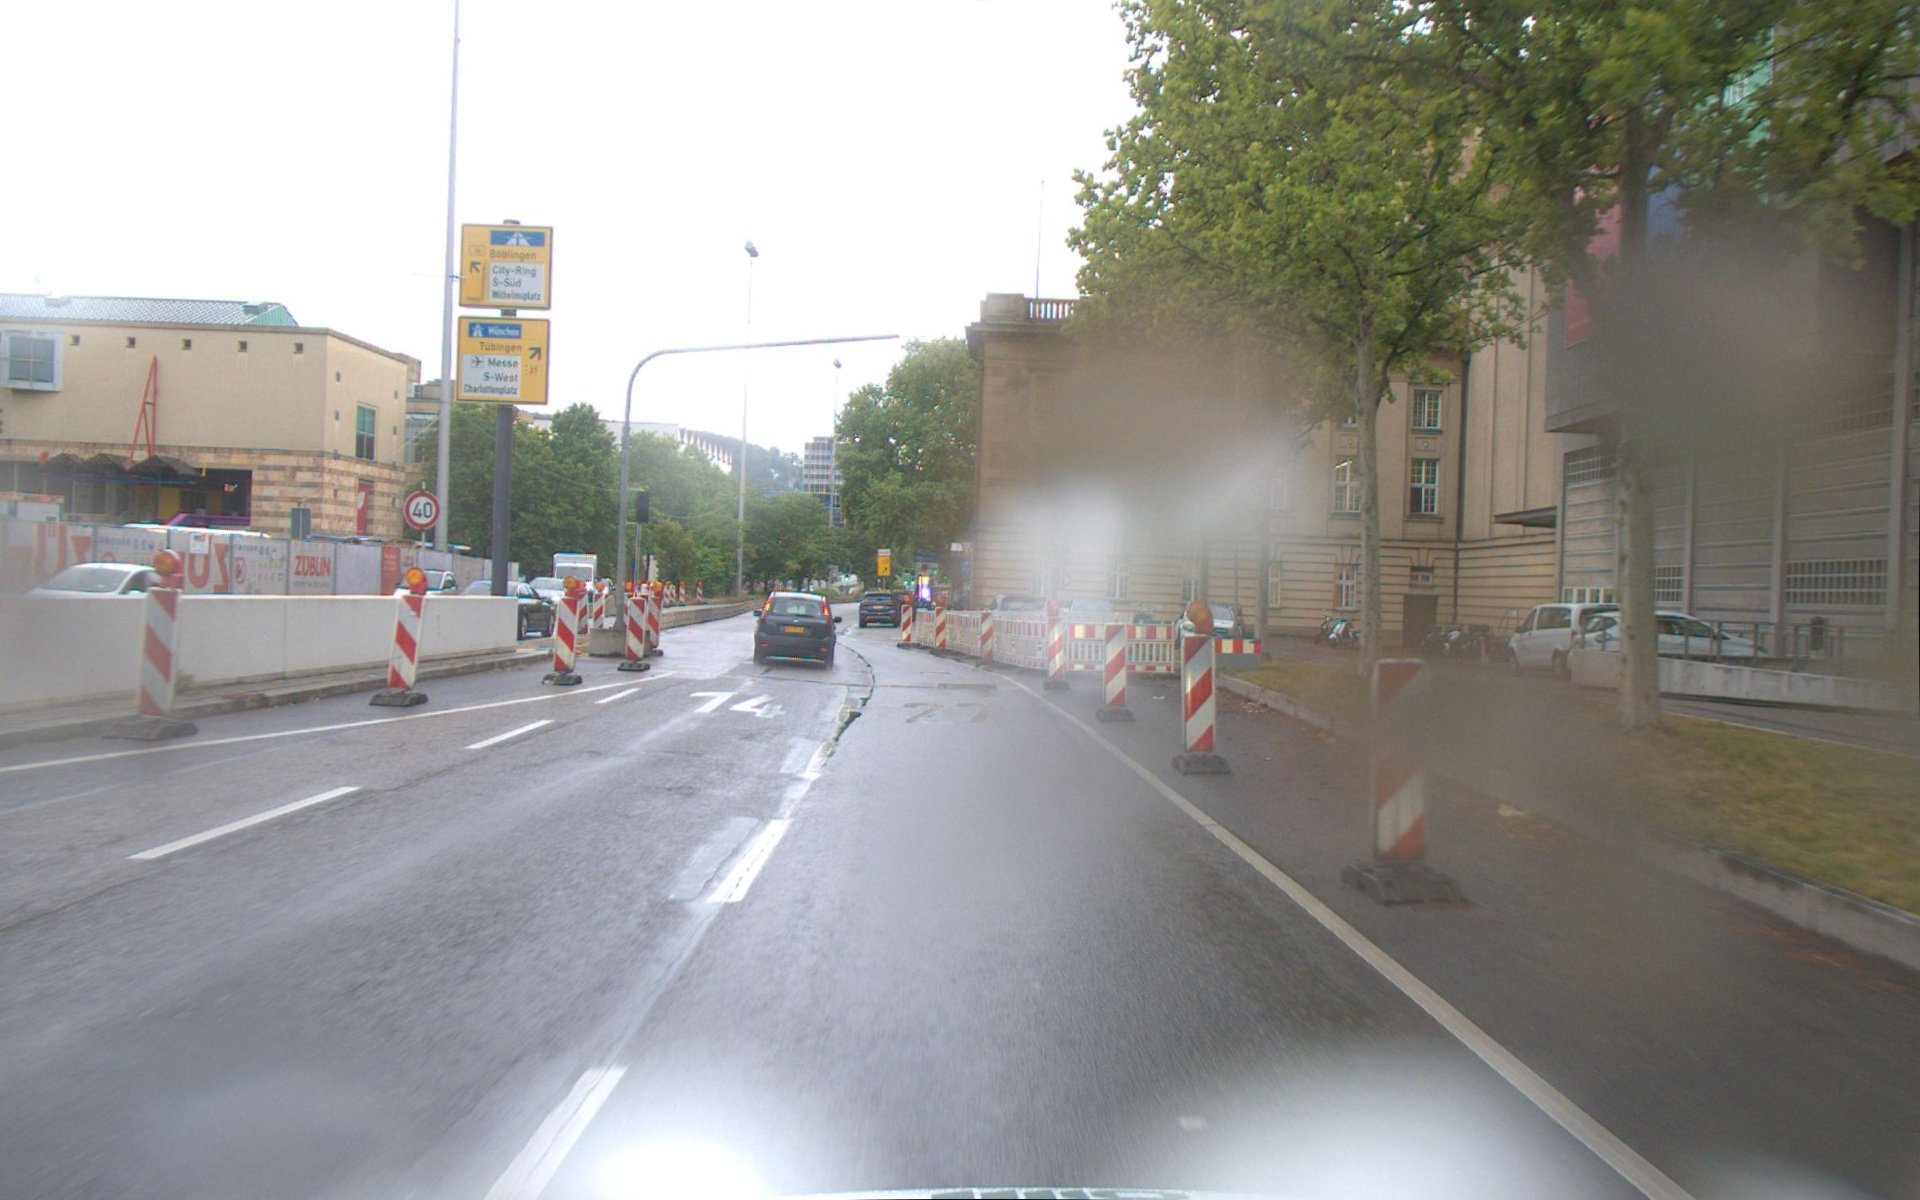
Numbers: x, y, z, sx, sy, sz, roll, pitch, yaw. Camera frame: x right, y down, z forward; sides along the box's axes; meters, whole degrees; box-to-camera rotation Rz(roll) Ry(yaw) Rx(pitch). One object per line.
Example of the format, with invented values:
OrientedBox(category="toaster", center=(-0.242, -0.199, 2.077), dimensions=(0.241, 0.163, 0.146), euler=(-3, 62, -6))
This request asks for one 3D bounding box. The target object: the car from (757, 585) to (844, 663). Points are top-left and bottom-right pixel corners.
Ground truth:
OrientedBox(category="car", center=(-3.288, 0.456, 34.250), dimensions=(1.638, 1.452, 3.753), euler=(3, 0, -6))

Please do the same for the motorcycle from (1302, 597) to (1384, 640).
OrientedBox(category="motorcycle", center=(15.761, 0.770, 68.160), dimensions=(3.095, 1.570, 0.890), euler=(4, -2, 4))

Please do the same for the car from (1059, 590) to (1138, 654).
OrientedBox(category="car", center=(4.201, 0.630, 50.615), dimensions=(1.953, 1.738, 4.000), euler=(3, 1, -1))

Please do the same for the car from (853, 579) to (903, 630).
OrientedBox(category="car", center=(-3.593, 0.154, 73.087), dimensions=(1.953, 2.048, 4.000), euler=(3, 1, -1))

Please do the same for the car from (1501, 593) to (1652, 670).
OrientedBox(category="car", center=(15.624, 0.812, 42.229), dimensions=(1.953, 1.790, 5.096), euler=(2, -1, 0))

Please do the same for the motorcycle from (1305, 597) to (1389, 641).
OrientedBox(category="motorcycle", center=(15.696, 0.782, 67.132), dimensions=(3.096, 1.570, 0.890), euler=(4, -2, 2))

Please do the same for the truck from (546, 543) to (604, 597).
OrientedBox(category="truck", center=(-19.368, -1.470, 83.465), dimensions=(2.370, 2.379, 5.431), euler=(4, -1, -10))

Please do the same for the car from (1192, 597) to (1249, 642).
OrientedBox(category="car", center=(10.973, 0.824, 69.862), dimensions=(1.952, 1.738, 4.002), euler=(3, -1, 4))

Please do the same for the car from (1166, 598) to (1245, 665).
OrientedBox(category="car", center=(7.234, 0.898, 49.127), dimensions=(1.952, 1.738, 4.002), euler=(3, 1, 4))

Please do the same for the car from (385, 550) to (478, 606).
OrientedBox(category="car", center=(-16.361, -0.649, 51.386), dimensions=(1.635, 1.548, 3.999), euler=(4, 0, -2))

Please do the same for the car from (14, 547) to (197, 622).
OrientedBox(category="car", center=(-15.775, -0.279, 30.719), dimensions=(1.593, 1.216, 3.404), euler=(4, 0, -1))

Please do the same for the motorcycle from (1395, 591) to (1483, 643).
OrientedBox(category="motorcycle", center=(19.899, 0.722, 68.780), dimensions=(3.281, 2.049, 1.152), euler=(2, -2, 1))

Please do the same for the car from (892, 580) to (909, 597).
OrientedBox(category="car", center=(-8.138, -1.561, 226.677), dimensions=(1.955, 2.049, 3.995), euler=(4, -1, -5))

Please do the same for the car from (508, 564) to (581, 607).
OrientedBox(category="car", center=(-16.768, -0.550, 66.873), dimensions=(1.954, 1.505, 3.998), euler=(4, -1, -2))

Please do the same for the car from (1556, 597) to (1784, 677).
OrientedBox(category="car", center=(14.640, 0.781, 34.273), dimensions=(3.905, 1.587, 1.933), euler=(0, -2, 0))

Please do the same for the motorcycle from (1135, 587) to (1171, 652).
OrientedBox(category="motorcycle", center=(5.739, 0.560, 49.268), dimensions=(0.813, 1.862, 3.144), euler=(2, 0, 3))

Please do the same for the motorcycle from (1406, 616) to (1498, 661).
OrientedBox(category="motorcycle", center=(19.642, 1.547, 66.102), dimensions=(3.281, 1.558, 1.152), euler=(4, -2, 1))

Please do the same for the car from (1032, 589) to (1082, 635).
OrientedBox(category="car", center=(4.106, 0.469, 69.742), dimensions=(1.952, 1.738, 4.002), euler=(3, 1, 4))

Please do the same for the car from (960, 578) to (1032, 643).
OrientedBox(category="car", center=(1.032, 0.273, 49.689), dimensions=(1.953, 1.738, 4.000), euler=(3, 1, -1))

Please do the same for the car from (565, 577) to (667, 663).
OrientedBox(category="car", center=(-6.013, 0.343, 29.118), dimensions=(1.358, 1.411, 3.064), euler=(1, 0, -5))
